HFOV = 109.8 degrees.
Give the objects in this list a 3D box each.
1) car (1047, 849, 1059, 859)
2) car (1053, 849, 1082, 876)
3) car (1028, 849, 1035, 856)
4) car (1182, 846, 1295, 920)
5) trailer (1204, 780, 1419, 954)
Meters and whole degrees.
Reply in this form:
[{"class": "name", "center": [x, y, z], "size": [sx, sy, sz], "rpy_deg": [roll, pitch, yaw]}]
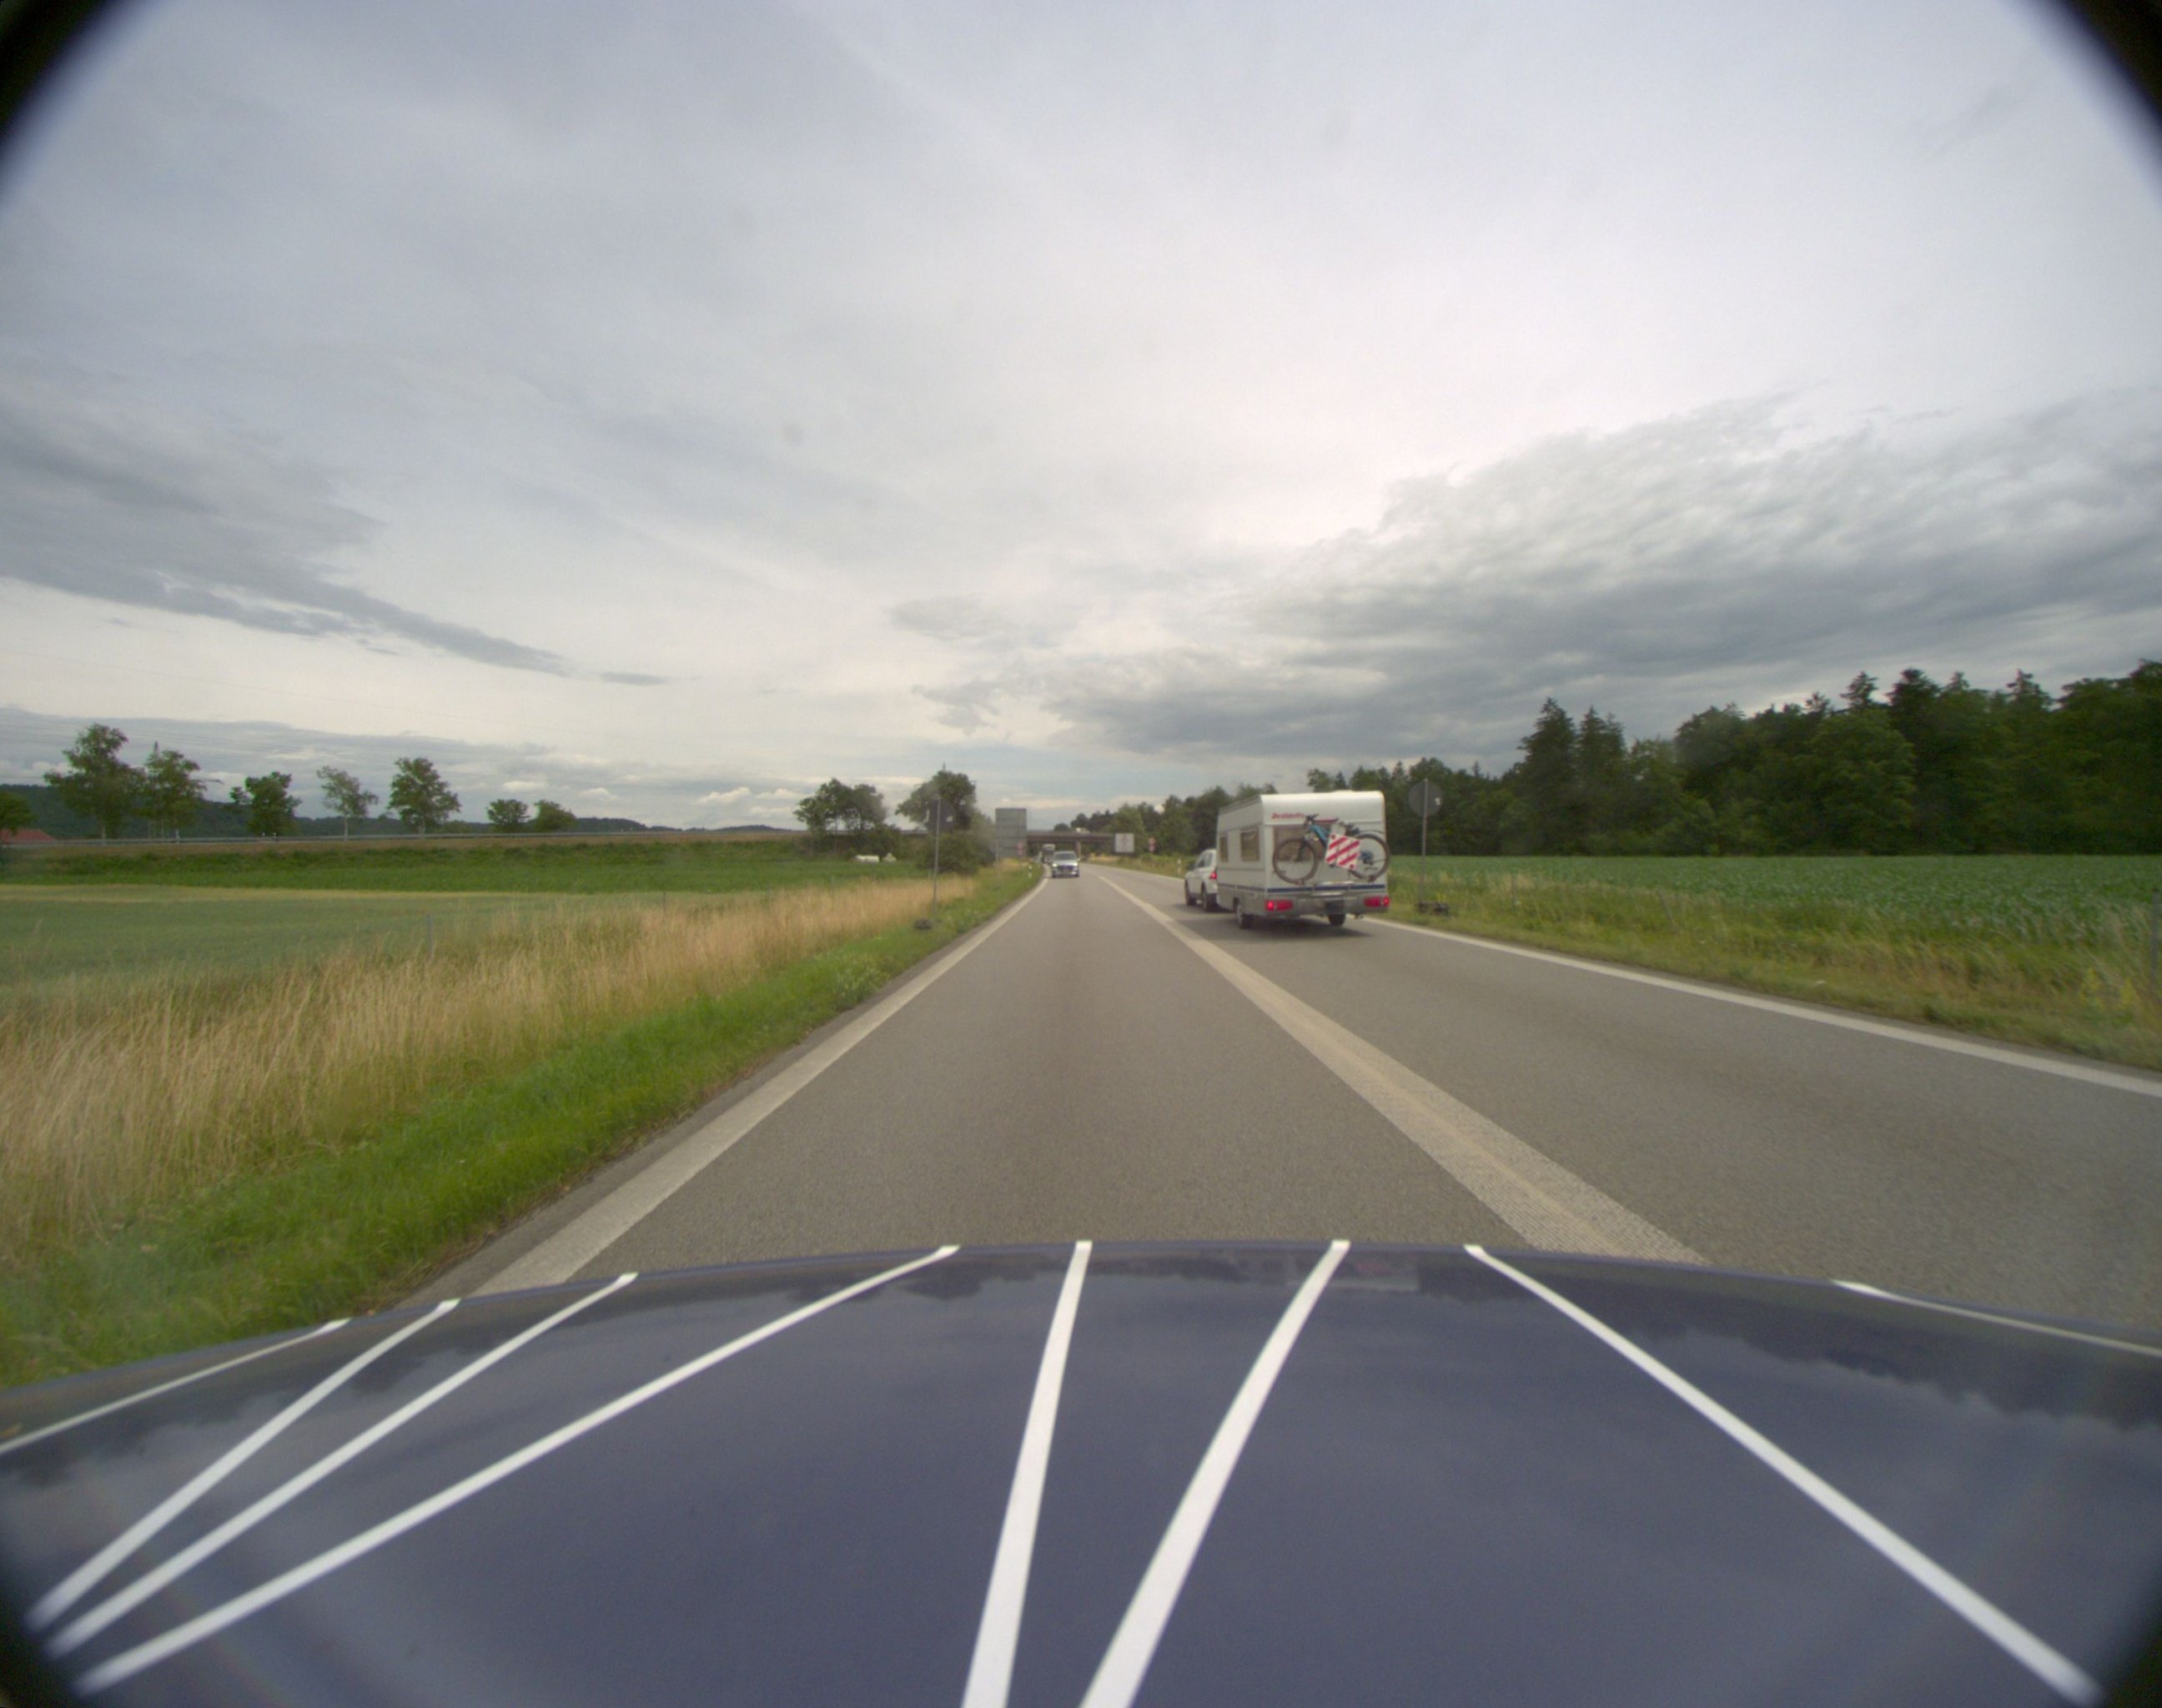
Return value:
[{"class": "car", "center": [-6.048, -0.065, 165.124], "size": [1.998, 2.002, 4.001], "rpy_deg": [-3, 1, 6]}, {"class": "car", "center": [-1.014, 0.574, 55.006], "size": [1.924, 1.823, 3.998], "rpy_deg": [-3, 1, -3]}, {"class": "car", "center": [-13.030, -0.434, 201.422], "size": [1.801, 1.653, 3.998], "rpy_deg": [-3, 1, -3]}, {"class": "car", "center": [4.007, 0.671, 20.089], "size": [2.011, 1.648, 4.326], "rpy_deg": [-3, 1, 0]}, {"class": "trailer", "center": [4.035, 0.181, 14.750], "size": [2.187, 2.560, 6.243], "rpy_deg": [-3, 1, 0]}]
